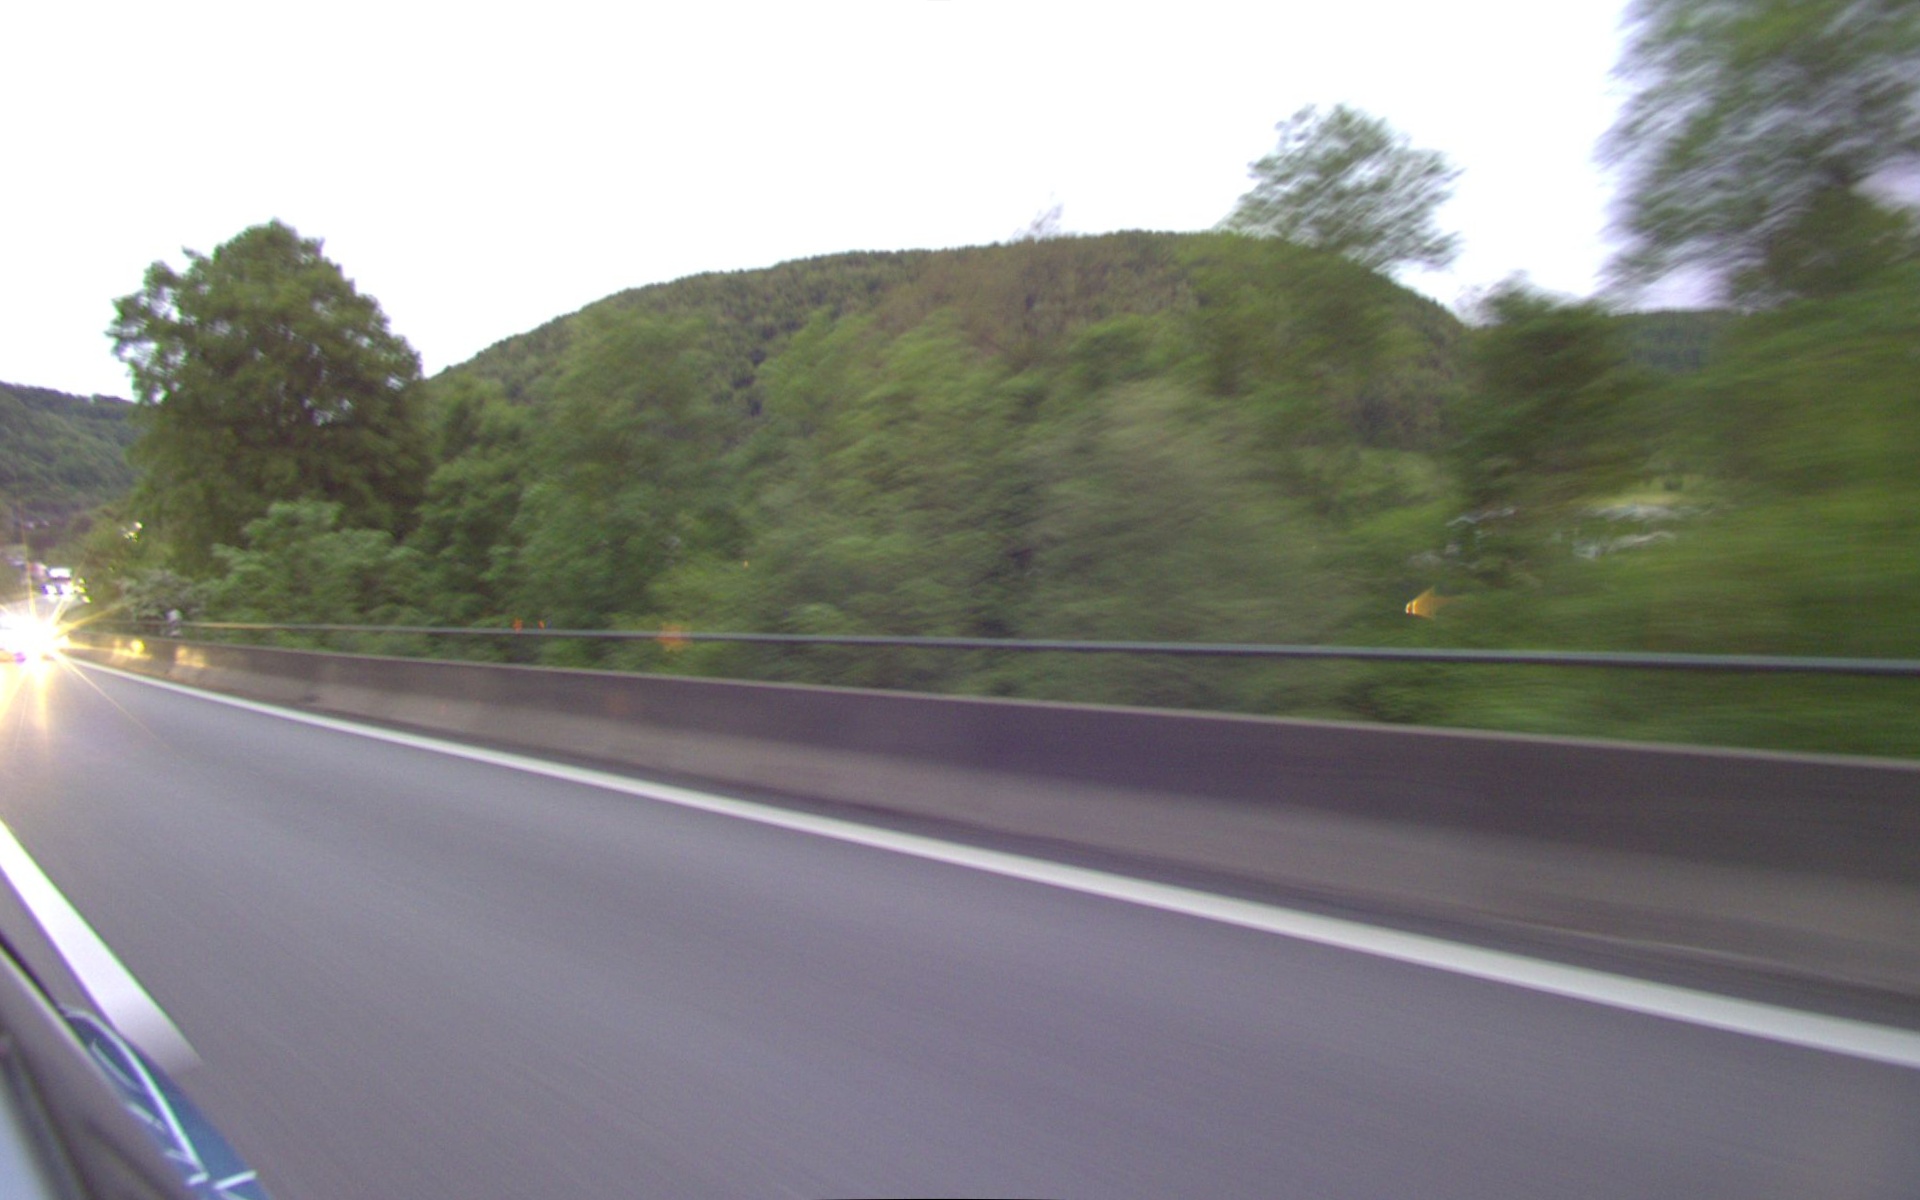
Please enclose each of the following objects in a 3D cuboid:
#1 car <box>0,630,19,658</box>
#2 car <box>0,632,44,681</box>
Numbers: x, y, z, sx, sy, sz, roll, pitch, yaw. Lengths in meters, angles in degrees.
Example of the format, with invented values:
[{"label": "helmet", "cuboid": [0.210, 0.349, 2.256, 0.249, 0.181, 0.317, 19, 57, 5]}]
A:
[{"label": "car", "cuboid": [-52.128, 2.384, 54.722, 1.667, 1.444, 3.671, -1, 0, -45]}, {"label": "car", "cuboid": [-31.446, 1.835, 33.321, 3.769, 1.479, 1.667, -1, 0, 44]}]
